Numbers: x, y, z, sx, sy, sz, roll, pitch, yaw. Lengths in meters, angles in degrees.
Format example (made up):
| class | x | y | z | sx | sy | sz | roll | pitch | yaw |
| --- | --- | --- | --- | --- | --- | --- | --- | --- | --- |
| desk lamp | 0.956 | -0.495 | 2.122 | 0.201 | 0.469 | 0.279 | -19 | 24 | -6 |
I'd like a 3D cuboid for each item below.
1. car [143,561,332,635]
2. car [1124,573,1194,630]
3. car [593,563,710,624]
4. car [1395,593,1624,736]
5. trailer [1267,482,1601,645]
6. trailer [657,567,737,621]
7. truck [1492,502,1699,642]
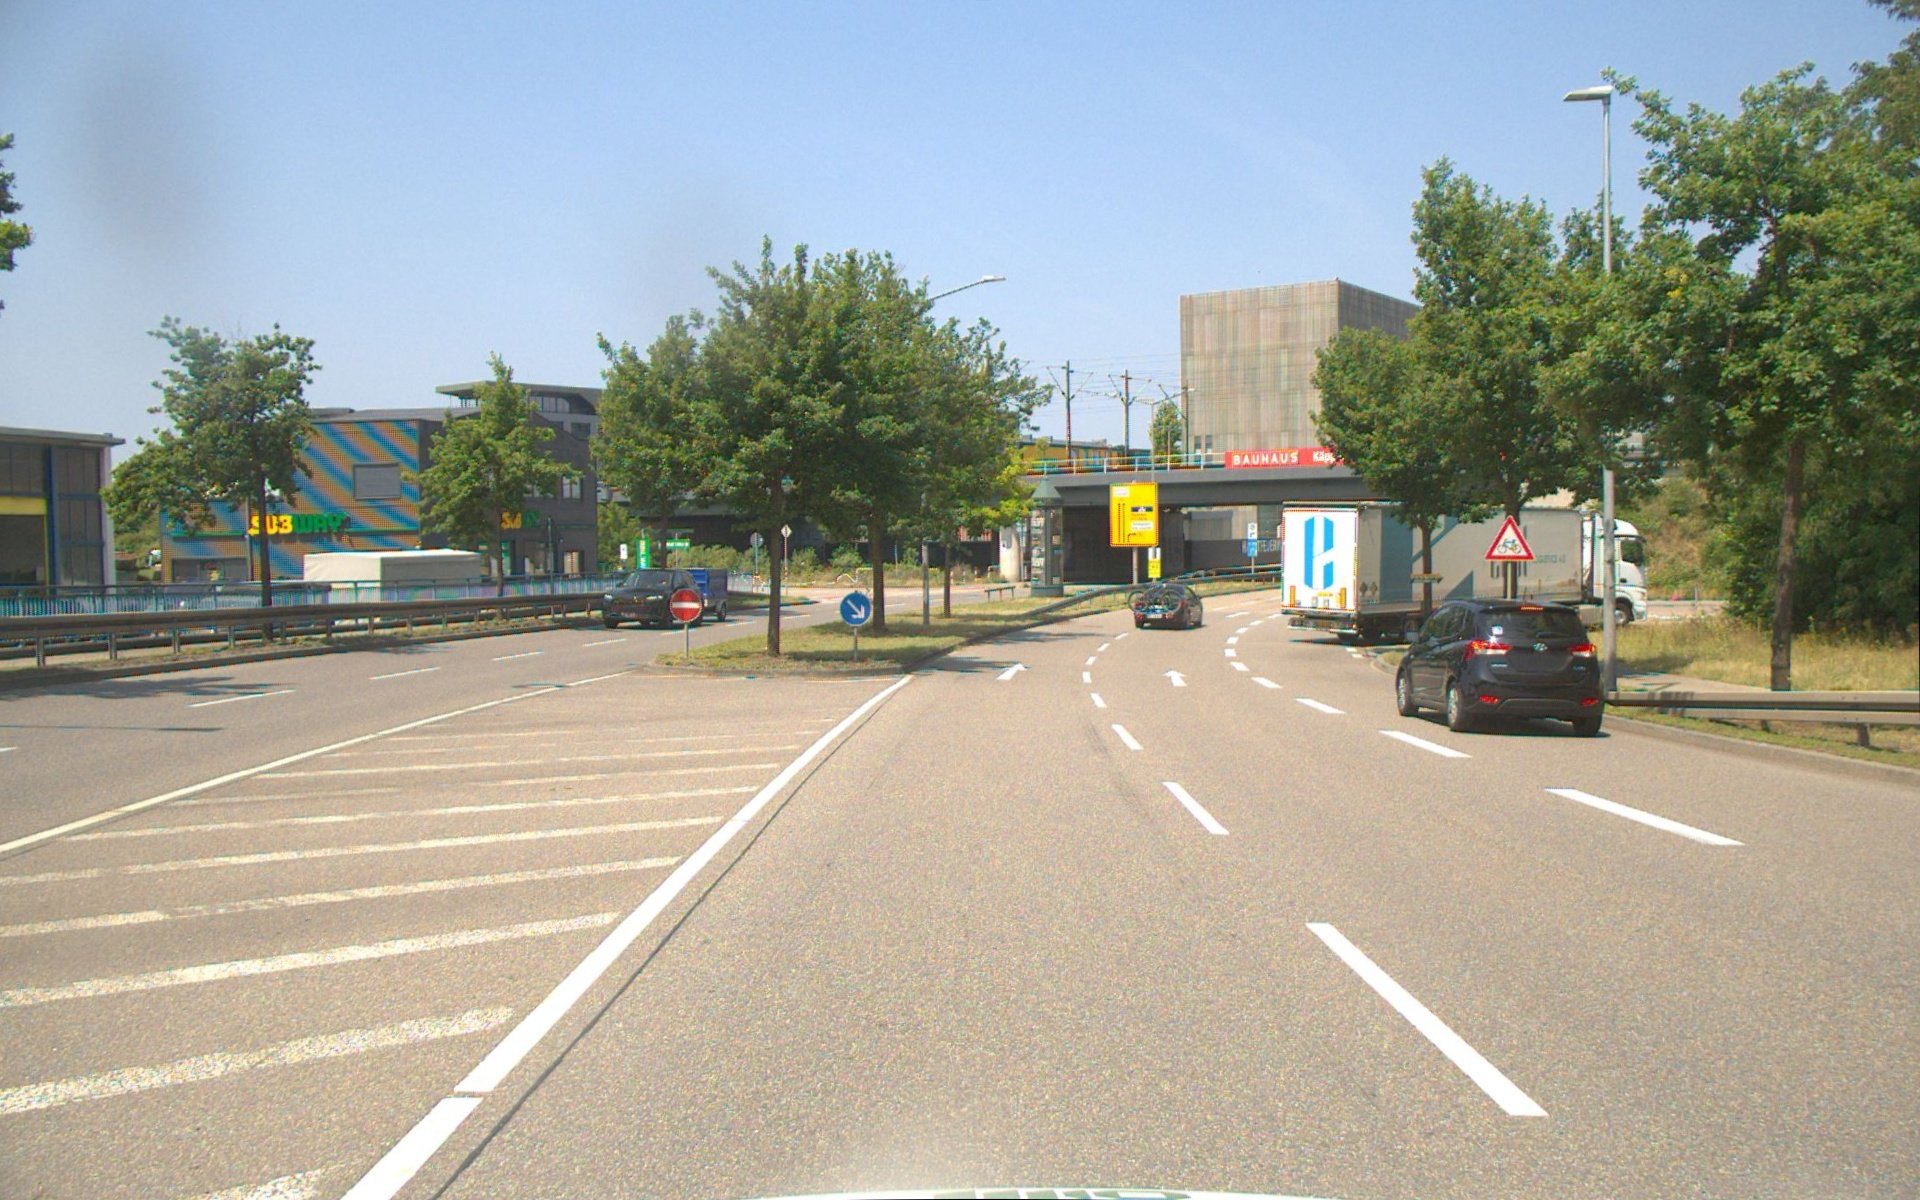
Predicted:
| class | x | y | z | sx | sy | sz | roll | pitch | yaw |
| --- | --- | --- | --- | --- | --- | --- | --- | --- | --- |
| car | -17.011 | -0.079 | 39.213 | 1.857 | 1.596 | 4.644 | -2 | 1 | 8 |
| car | 6.520 | 0.015 | 53.911 | 1.915 | 1.662 | 4.285 | 1 | 2 | 12 |
| car | -8.792 | -0.186 | 47.536 | 1.873 | 1.681 | 4.411 | 0 | 0 | 10 |
| car | 6.823 | 0.726 | 20.973 | 1.730 | 1.627 | 4.079 | 0 | 0 | 3 |
| trailer | 15.179 | -1.025 | 51.588 | 14.661 | 4.443 | 3.039 | 1 | 3 | -45 |
| trailer | -8.132 | -0.184 | 51.350 | 1.472 | 1.643 | 3.311 | 0 | 0 | 10 |
| truck | 21.638 | -0.963 | 56.359 | 5.976 | 4.443 | 3.066 | 2 | 2 | -23 |
